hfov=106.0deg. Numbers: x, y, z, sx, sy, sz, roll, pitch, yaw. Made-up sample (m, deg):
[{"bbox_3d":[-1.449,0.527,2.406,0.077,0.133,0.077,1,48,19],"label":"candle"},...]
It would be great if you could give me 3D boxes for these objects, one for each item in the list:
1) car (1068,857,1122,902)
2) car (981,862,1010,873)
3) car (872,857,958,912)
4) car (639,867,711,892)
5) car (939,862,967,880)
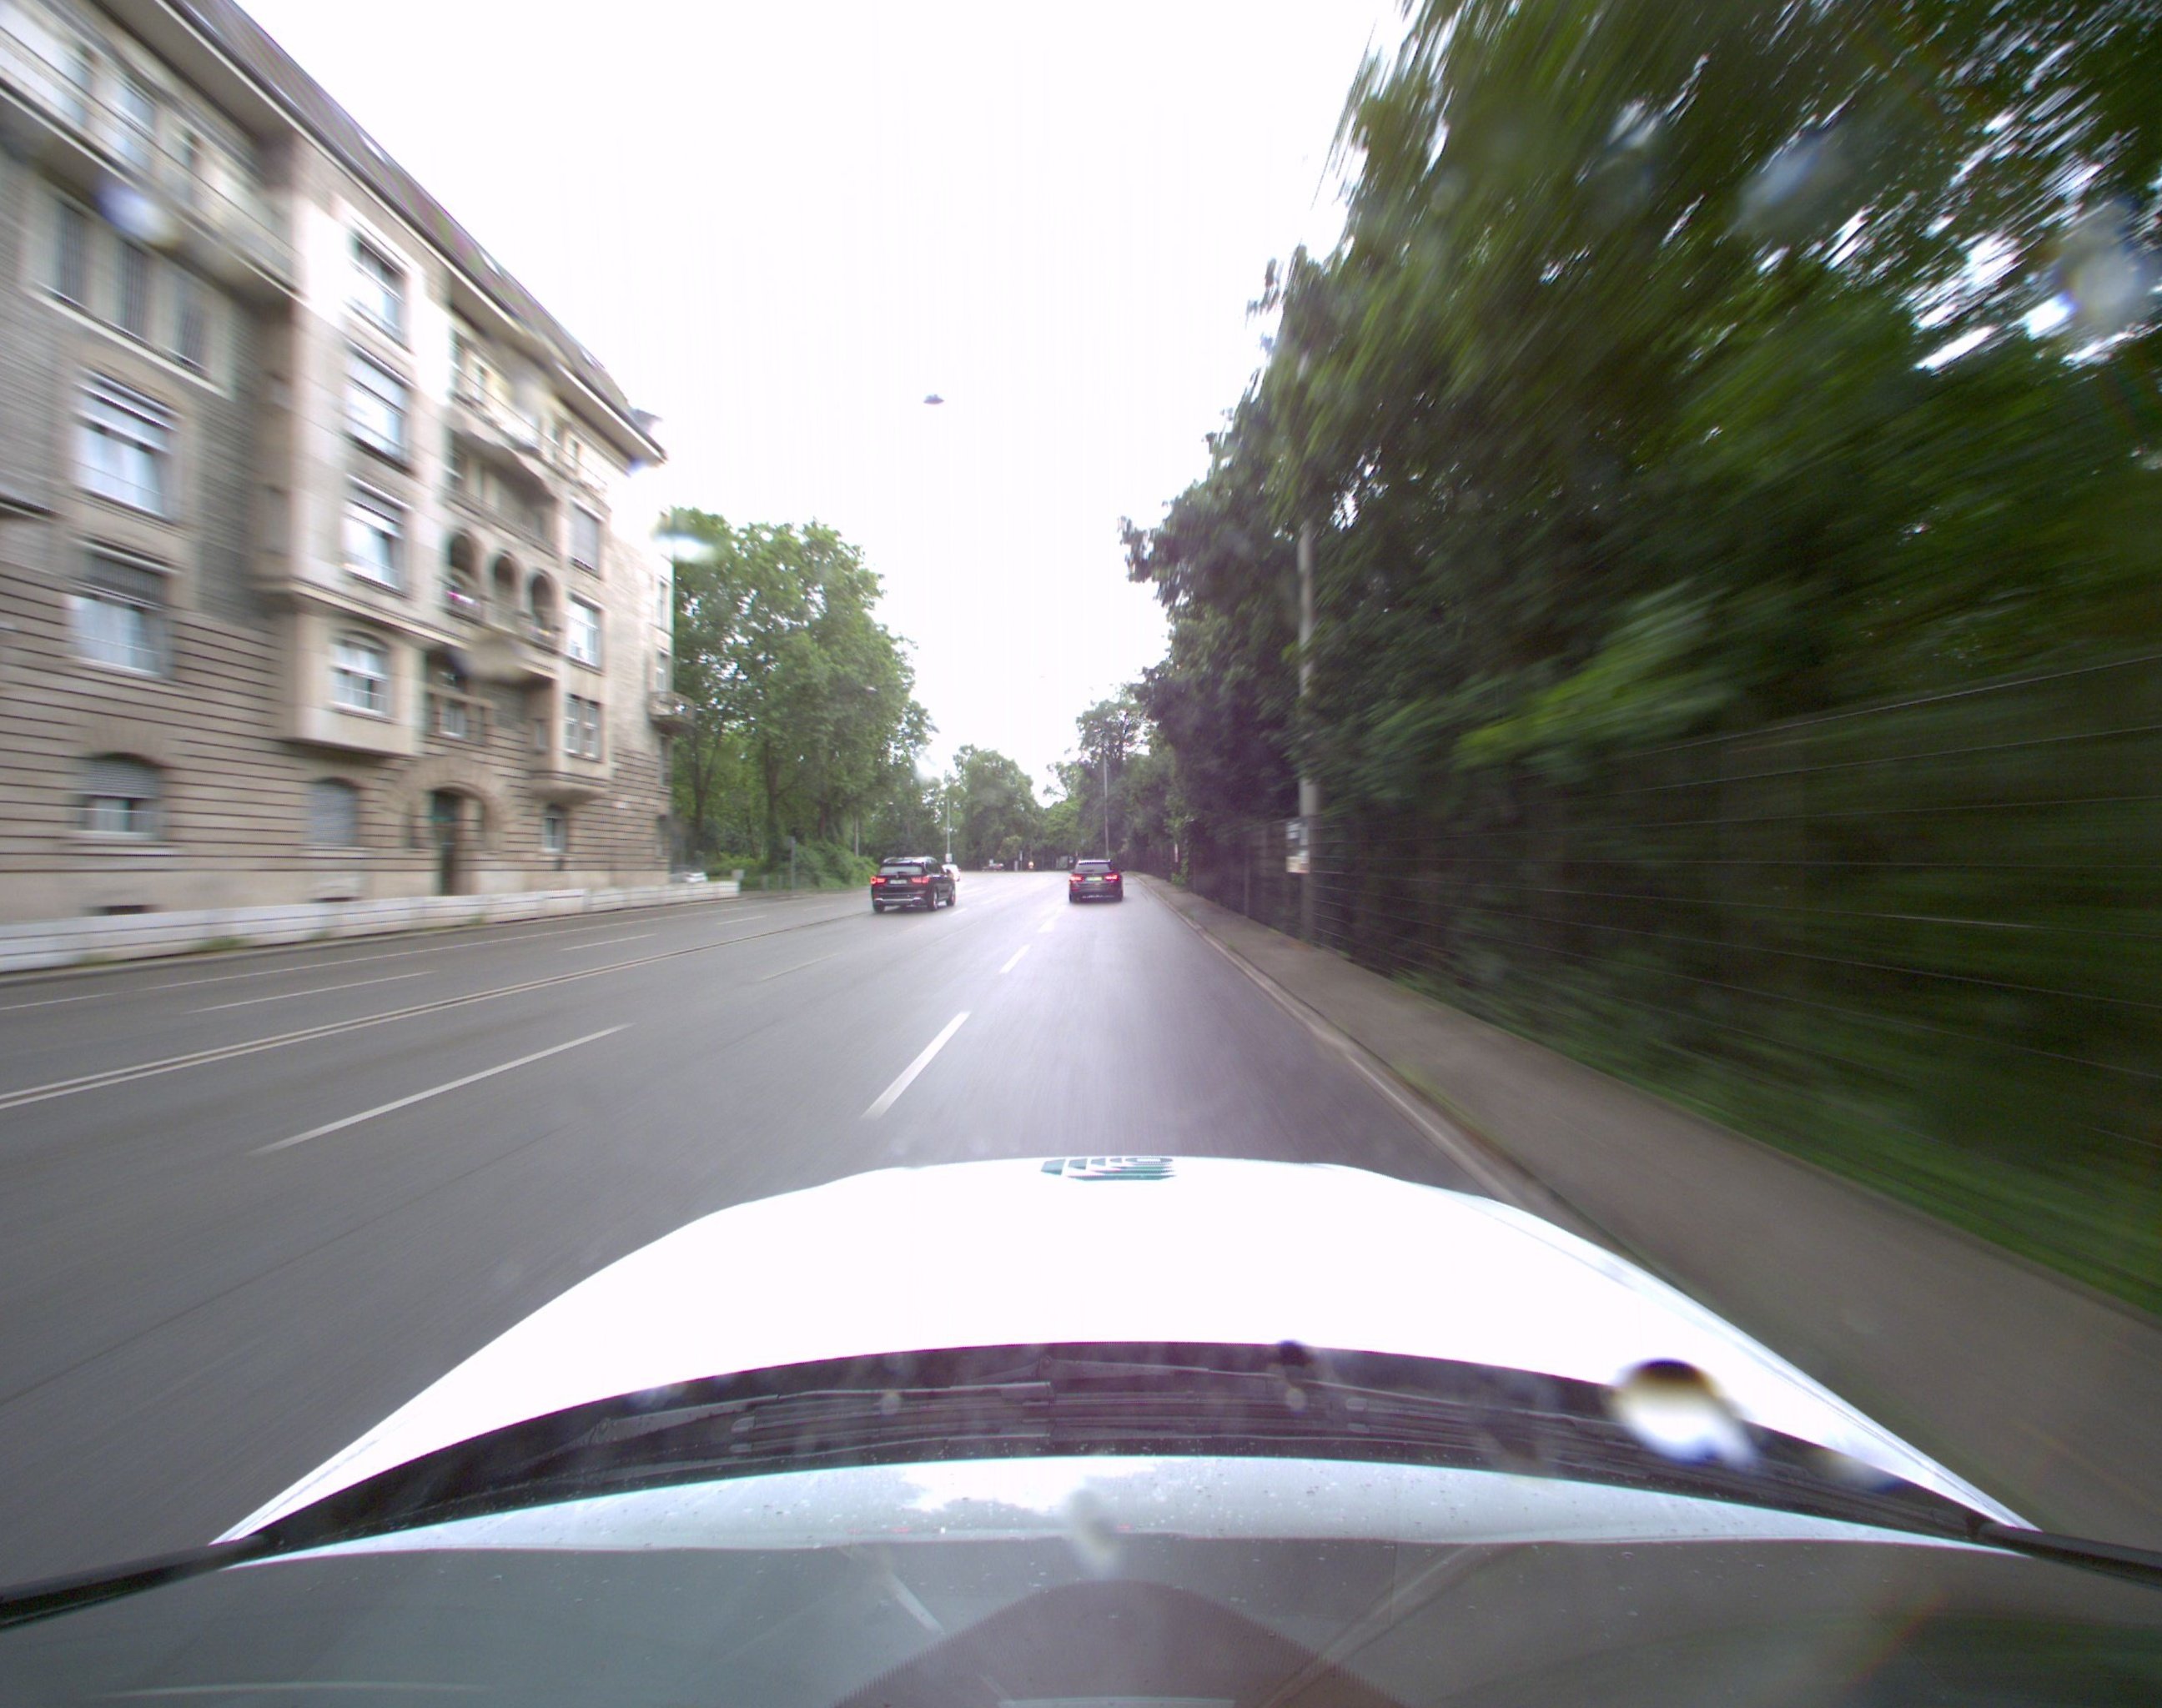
[{"bbox_3d":[0.504,0.848,28.965,1.751,1.432,4.413,-2,0,1],"label":"car"},{"bbox_3d":[-12.211,1.966,116.436,4.316,1.427,1.702,-1,-4,45],"label":"car"},{"bbox_3d":[-5.142,0.889,25.818,1.751,1.586,4.413,0,0,1],"label":"car"},{"bbox_3d":[-24.603,1.545,49.384,3.471,1.376,1.785,-2,0,11],"label":"car"},{"bbox_3d":[-10.832,1.403,69.292,1.574,1.414,3.963,-1,0,2],"label":"car"}]
